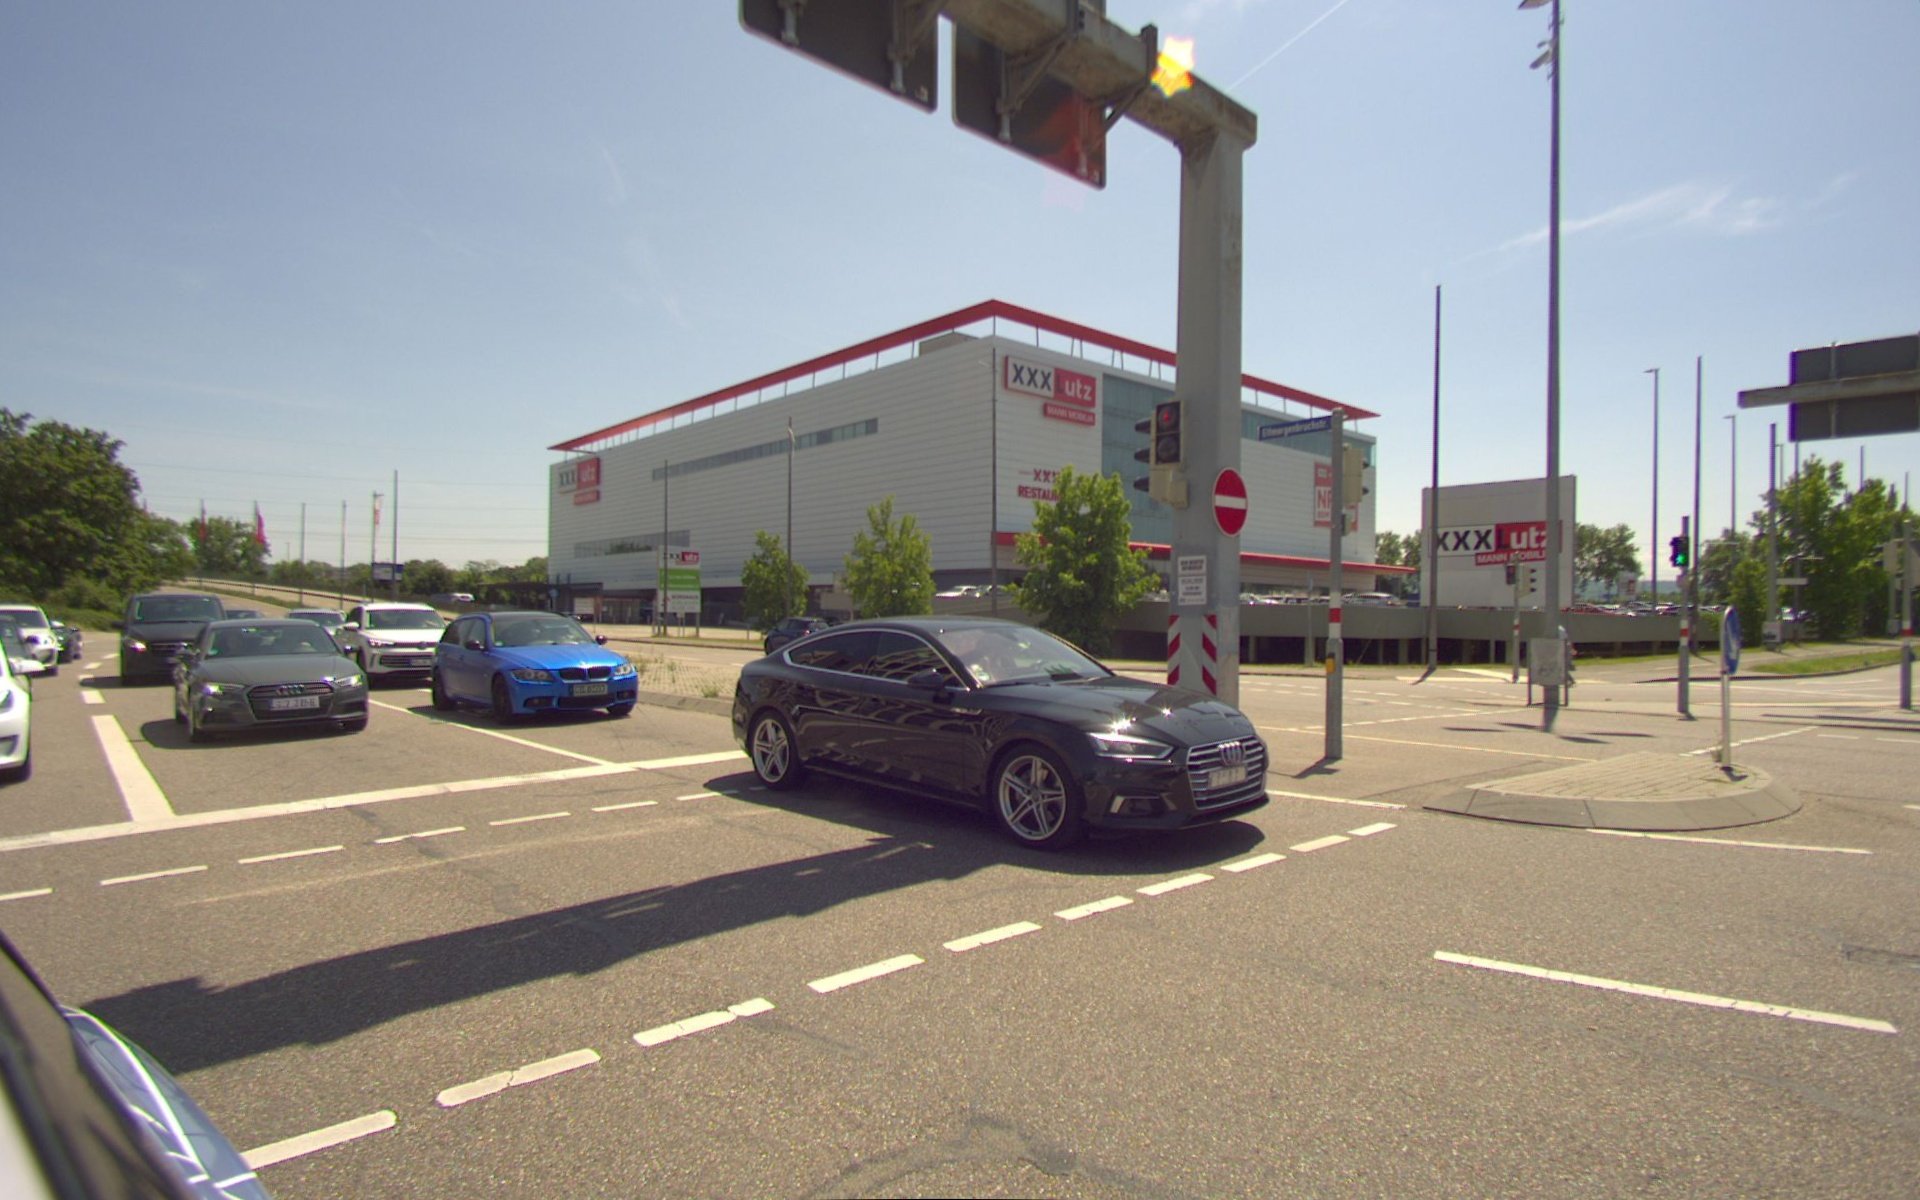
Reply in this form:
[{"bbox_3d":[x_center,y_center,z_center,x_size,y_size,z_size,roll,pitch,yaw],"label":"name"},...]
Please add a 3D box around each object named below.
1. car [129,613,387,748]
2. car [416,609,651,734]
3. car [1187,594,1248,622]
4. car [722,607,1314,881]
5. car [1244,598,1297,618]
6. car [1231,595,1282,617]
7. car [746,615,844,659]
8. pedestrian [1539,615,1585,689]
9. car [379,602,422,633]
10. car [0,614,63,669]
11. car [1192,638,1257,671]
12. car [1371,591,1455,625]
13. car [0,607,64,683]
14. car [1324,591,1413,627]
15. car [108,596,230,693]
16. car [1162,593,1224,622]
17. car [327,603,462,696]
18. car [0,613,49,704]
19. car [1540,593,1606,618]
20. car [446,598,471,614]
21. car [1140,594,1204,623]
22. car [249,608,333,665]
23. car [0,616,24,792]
[{"bbox_3d":[-8.982,0.887,12.819,4.088,1.393,1.746,-1,0,41],"label":"car"},{"bbox_3d":[-6.190,0.873,14.387,1.743,1.413,4.437,-1,1,-41],"label":"car"},{"bbox_3d":[18.982,0.601,74.758,1.756,2.029,4.140,1,-1,-42],"label":"car"},{"bbox_3d":[0.113,0.782,7.455,1.651,1.415,4.471,1,-1,-43],"label":"car"},{"bbox_3d":[27.070,0.719,88.220,1.756,1.694,4.140,1,-1,-42],"label":"car"},{"bbox_3d":[25.287,0.524,86.483,1.756,1.801,3.844,1,-1,-42],"label":"car"},{"bbox_3d":[-6.571,1.423,40.086,1.970,1.608,4.004,1,-1,-43],"label":"car"},{"bbox_3d":[14.896,1.271,25.035,0.595,1.797,0.828,1,-1,-40],"label":"pedestrian"},{"bbox_3d":[-27.640,0.861,50.041,1.581,1.450,3.745,1,-1,-25],"label":"car"},{"bbox_3d":[-26.482,1.119,28.563,1.743,1.413,3.956,1,0,-42],"label":"car"},{"bbox_3d":[15.179,3.086,58.030,2.000,1.719,3.942,-1,-1,44],"label":"car"},{"bbox_3d":[27.776,0.498,62.086,4.330,2.029,1.972,0,-1,43],"label":"car"},{"bbox_3d":[-22.235,0.992,23.662,1.751,1.621,3.828,1,-1,-39],"label":"car"},{"bbox_3d":[23.575,0.521,58.498,4.330,2.029,1.971,0,-1,44],"label":"car"},{"bbox_3d":[-16.909,0.845,21.638,1.867,1.835,4.846,0,0,-39],"label":"car"},{"bbox_3d":[16.857,0.525,73.471,1.756,2.029,4.140,1,-1,-42],"label":"car"},{"bbox_3d":[-11.673,0.925,20.743,1.742,1.653,4.500,-1,0,-38],"label":"car"},{"bbox_3d":[-17.726,1.002,18.380,1.533,1.548,3.827,1,-1,-39],"label":"car"},{"bbox_3d":[50.811,0.475,83.990,1.969,2.029,4.334,1,-1,-42],"label":"car"},{"bbox_3d":[-74.875,0.864,151.020,2.159,2.300,4.821,1,-1,-40],"label":"car"},{"bbox_3d":[15.082,0.609,72.090,1.756,2.029,4.238,1,-1,-42],"label":"car"},{"bbox_3d":[-18.784,0.986,28.541,1.740,1.433,3.911,-1,0,-30],"label":"car"},{"bbox_3d":[-10.023,0.906,9.481,1.797,1.447,4.288,-1,0,-43],"label":"car"}]
